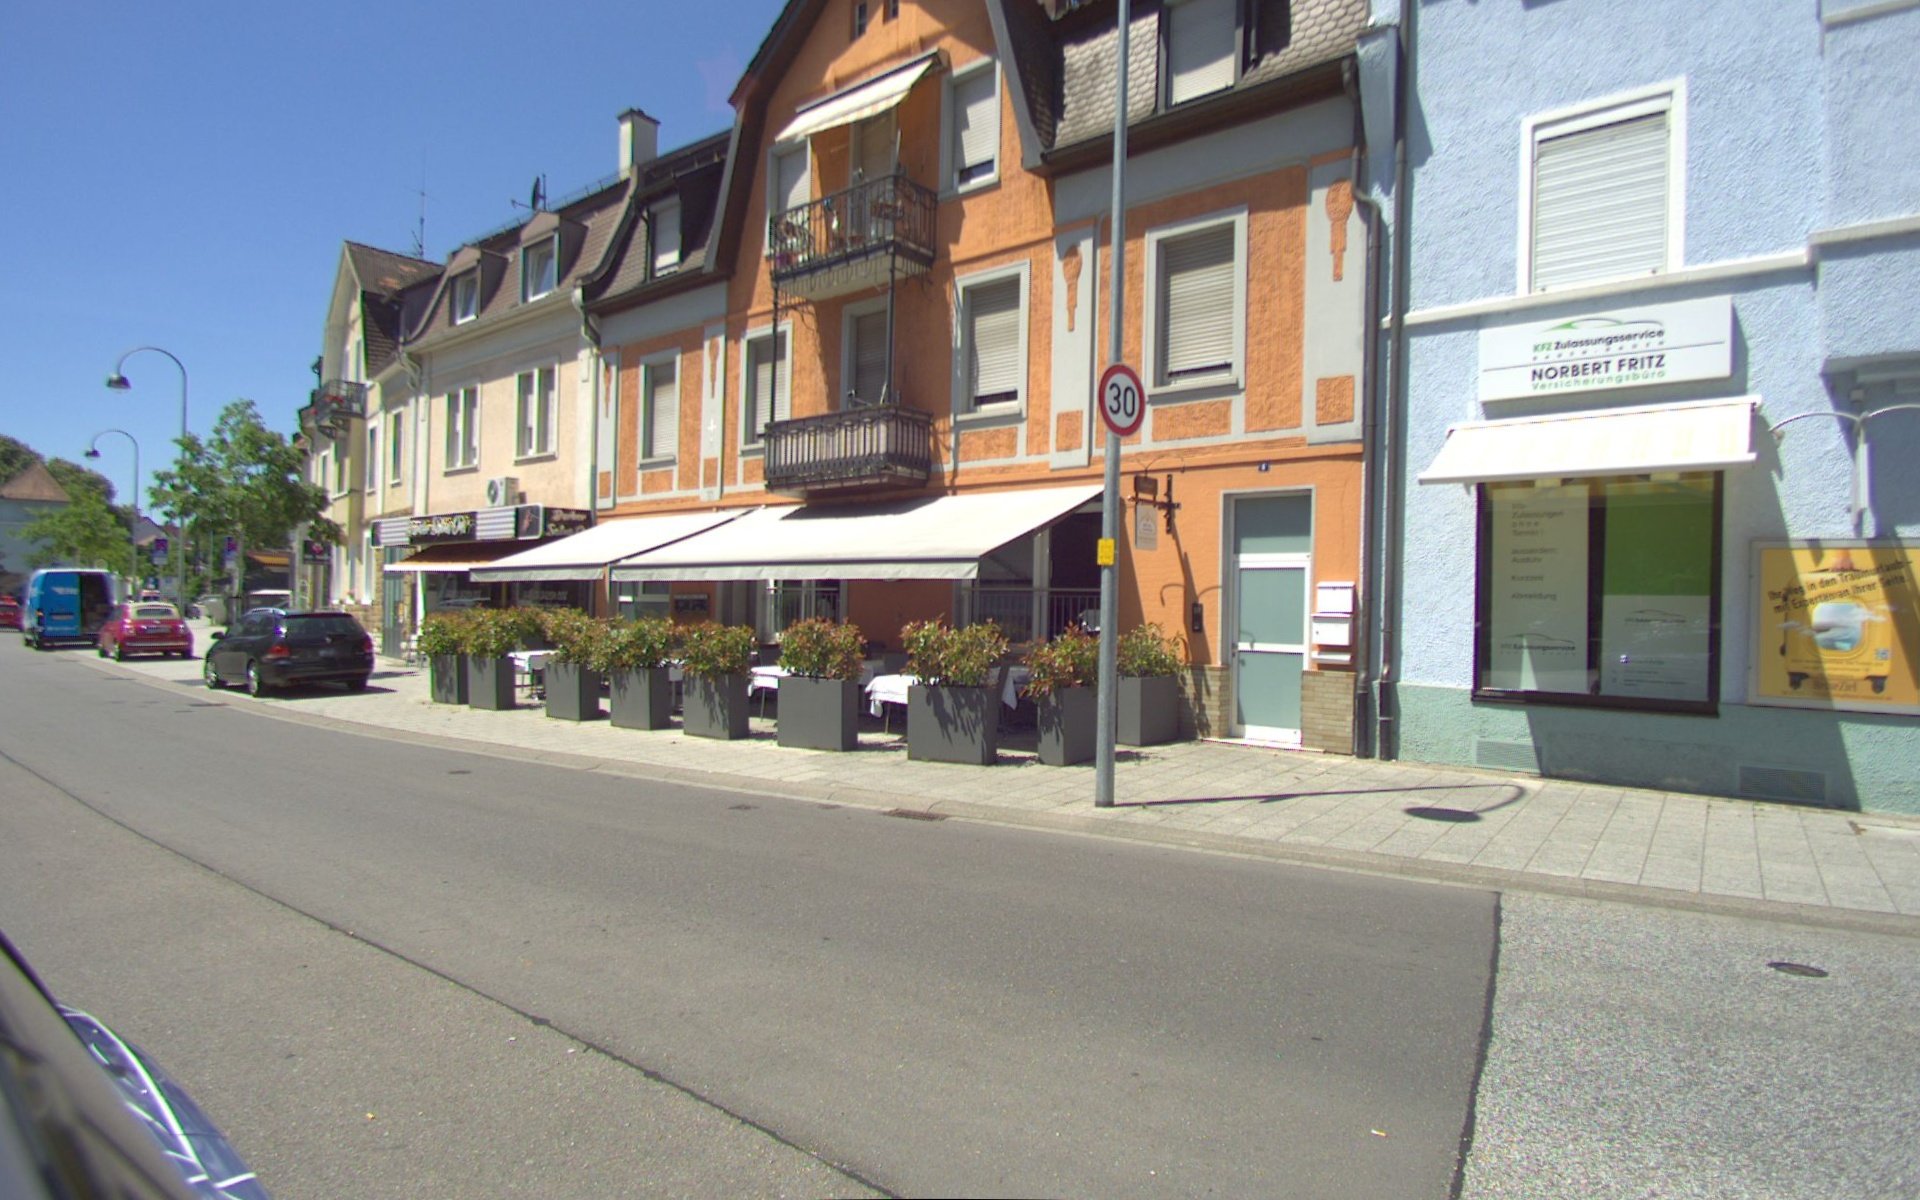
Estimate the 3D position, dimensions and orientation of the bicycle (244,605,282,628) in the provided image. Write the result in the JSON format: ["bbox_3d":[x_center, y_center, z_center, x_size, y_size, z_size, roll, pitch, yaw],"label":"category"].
[{"bbox_3d":[-39.978,0.919,58.097,1.741,1.244,0.618,-2,-1,-33],"label":"bicycle"}]

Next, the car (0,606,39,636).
[{"bbox_3d":[-48.255,1.046,51.101,1.889,1.437,3.991,2,-2,-32],"label":"car"}]

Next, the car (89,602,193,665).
[{"bbox_3d":[-22.066,0.852,27.234,3.513,1.532,1.544,1,0,40],"label":"car"}]

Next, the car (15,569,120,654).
[{"bbox_3d":[-28.770,0.326,32.557,5.504,2.517,2.069,0,0,44],"label":"car"}]

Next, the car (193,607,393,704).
[{"bbox_3d":[-12.162,0.906,18.362,4.334,1.493,1.896,0,1,40],"label":"car"}]

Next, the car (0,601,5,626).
[{"bbox_3d":[-70.747,0.894,71.982,3.756,1.800,1.845,3,-2,-34],"label":"car"}]

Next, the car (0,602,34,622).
[{"bbox_3d":[-76.904,0.937,80.692,4.289,1.562,1.656,2,-1,-35],"label":"car"}]

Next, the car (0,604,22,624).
[{"bbox_3d":[-74.212,1.039,77.108,3.756,1.473,1.657,3,-2,-33],"label":"car"}]

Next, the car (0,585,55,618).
[{"bbox_3d":[-83.017,0.124,88.956,4.788,2.757,1.856,3,-2,-31],"label":"car"}]
